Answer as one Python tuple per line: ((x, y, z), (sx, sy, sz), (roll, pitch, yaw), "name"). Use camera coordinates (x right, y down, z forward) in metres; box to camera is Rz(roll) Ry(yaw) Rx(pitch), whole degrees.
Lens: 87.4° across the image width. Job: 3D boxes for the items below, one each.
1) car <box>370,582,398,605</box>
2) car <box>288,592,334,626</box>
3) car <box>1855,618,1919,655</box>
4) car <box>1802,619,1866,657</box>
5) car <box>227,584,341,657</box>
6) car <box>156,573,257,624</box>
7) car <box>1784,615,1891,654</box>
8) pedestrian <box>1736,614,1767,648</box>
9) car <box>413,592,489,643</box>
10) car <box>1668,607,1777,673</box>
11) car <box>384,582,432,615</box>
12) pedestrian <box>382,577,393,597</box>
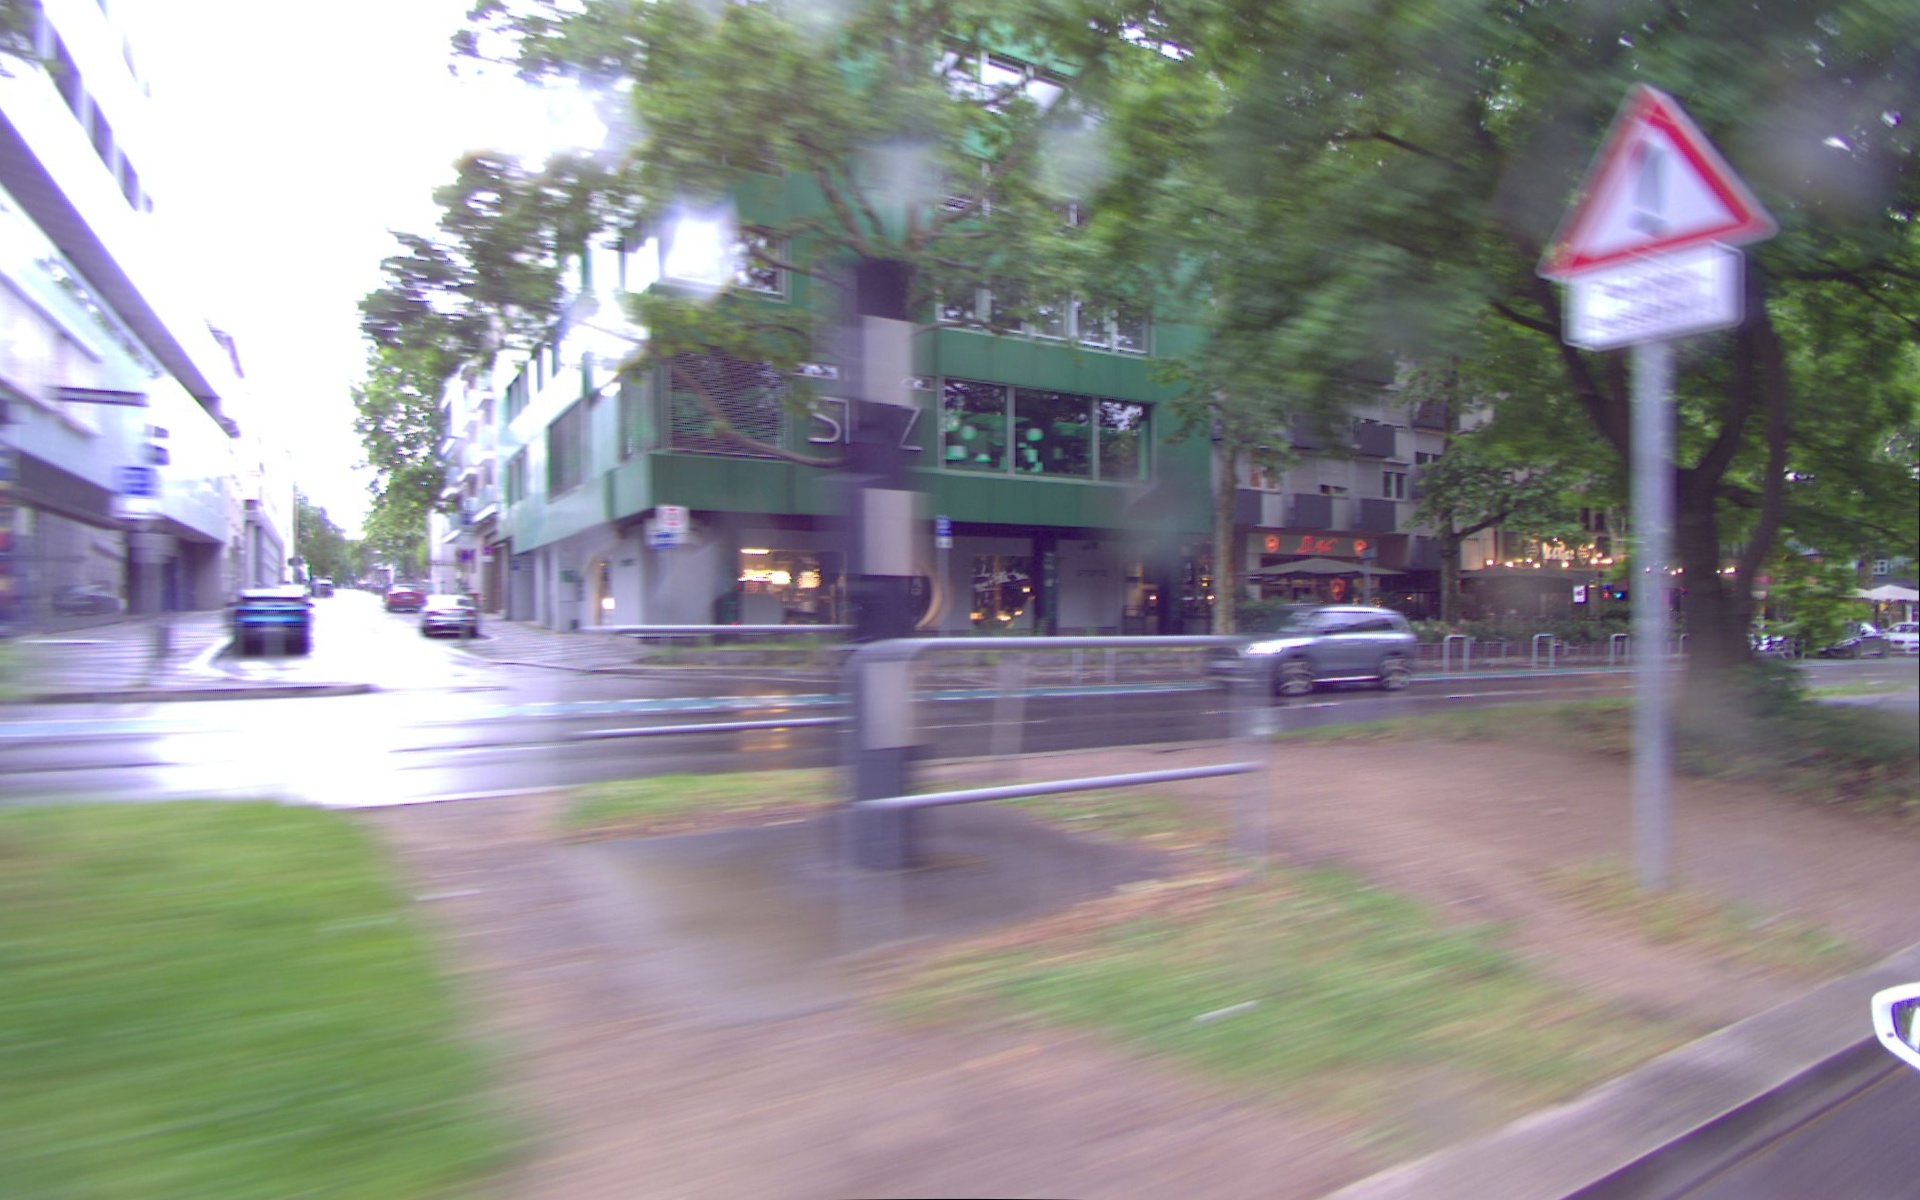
((-42.652, -0.497, 74.351), (1.686, 1.591, 3.823), (1, 0, -32), "car")
((-34.390, 0.444, 53.237), (1.979, 1.706, 3.963), (0, 0, -33), "car")
((39.820, 1.505, 42.253), (4.487, 1.388, 1.983), (0, 2, -31), "car")
((33.290, 1.413, 38.247), (2.662, 1.406, 1.045), (0, -1, -30), "car")
((-18.205, 0.549, 27.267), (1.976, 1.714, 4.967), (4, -2, -28), "car")
((-24.963, -0.005, 33.459), (1.976, 1.561, 4.967), (0, -1, -29), "car")
((33.879, 1.299, 38.761), (4.431, 1.413, 1.816), (1, 0, -31), "car")
((32.828, 1.273, 41.651), (0.923, 1.398, 0.758), (0, 0, -33), "pedestrian")
((-18.155, 0.574, 35.721), (1.979, 1.706, 3.963), (0, 0, -33), "car")
((20.838, 1.028, 27.383), (4.410, 1.648, 1.702), (0, 0, -44), "car")
((-29.875, -0.076, 54.305), (1.979, 1.706, 3.963), (0, 0, -33), "car")
((-47.525, -1.109, 83.417), (0.549, 1.636, 0.565), (2, 0, 13), "pedestrian")
